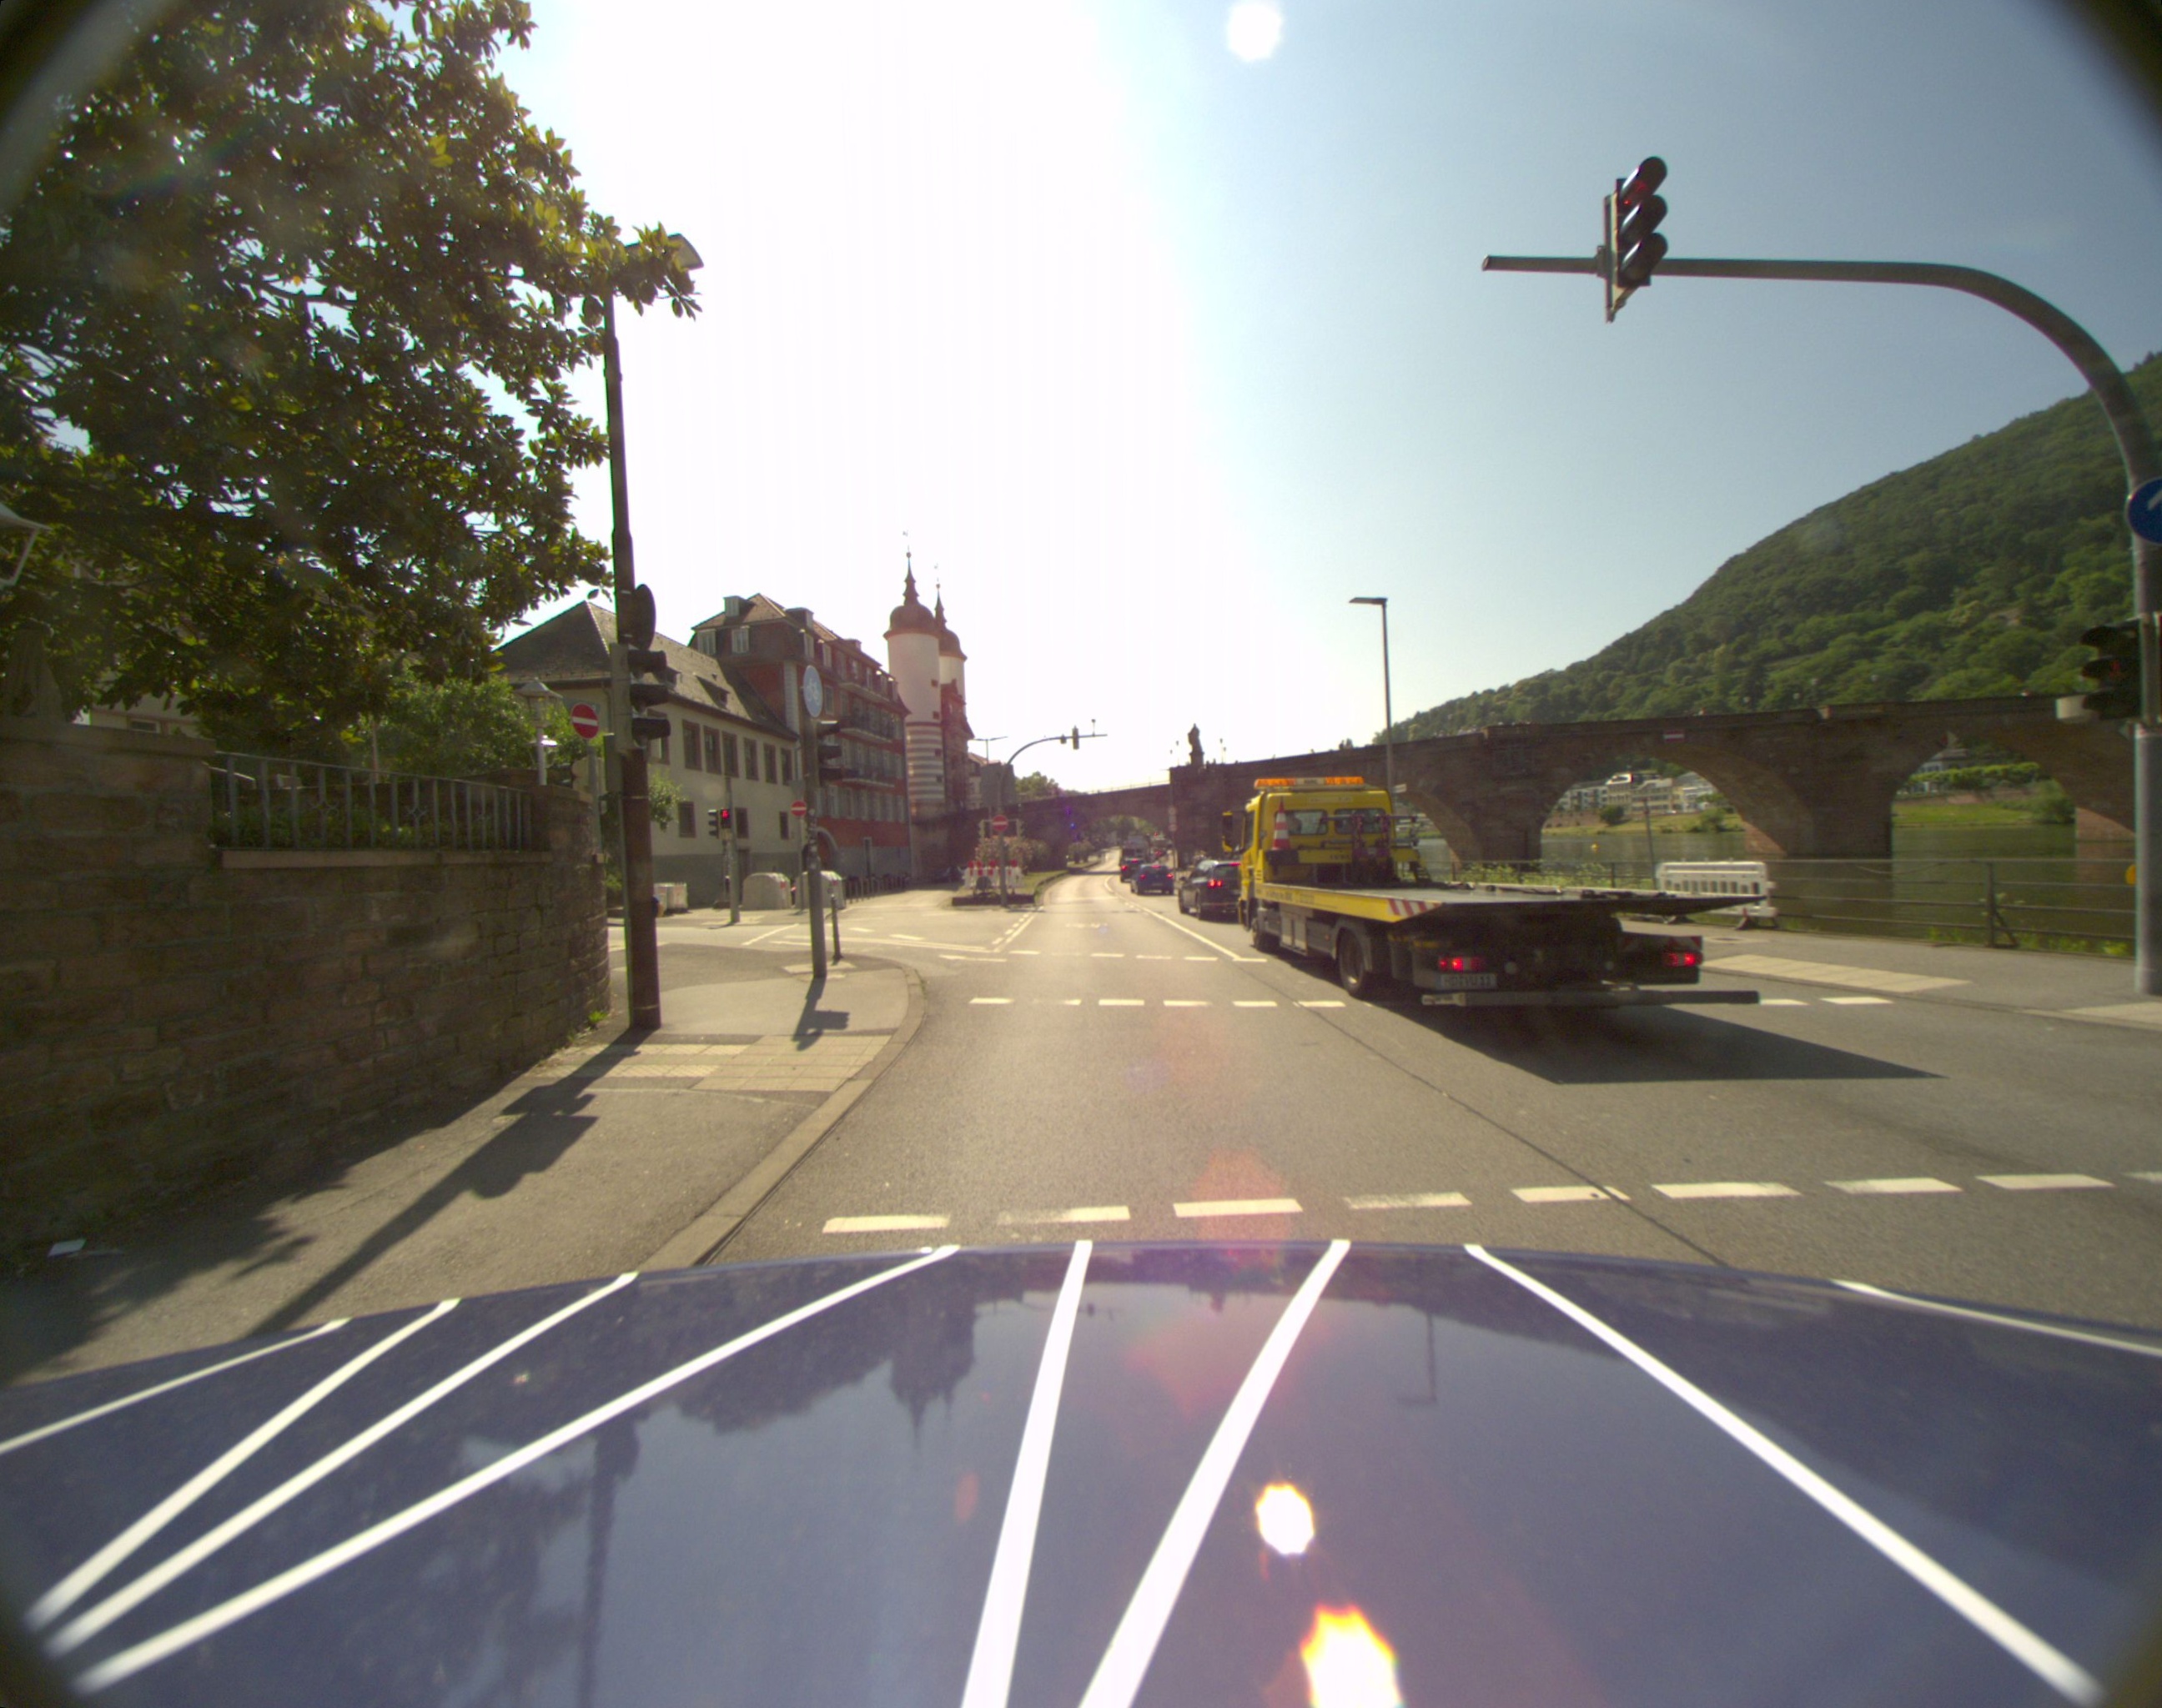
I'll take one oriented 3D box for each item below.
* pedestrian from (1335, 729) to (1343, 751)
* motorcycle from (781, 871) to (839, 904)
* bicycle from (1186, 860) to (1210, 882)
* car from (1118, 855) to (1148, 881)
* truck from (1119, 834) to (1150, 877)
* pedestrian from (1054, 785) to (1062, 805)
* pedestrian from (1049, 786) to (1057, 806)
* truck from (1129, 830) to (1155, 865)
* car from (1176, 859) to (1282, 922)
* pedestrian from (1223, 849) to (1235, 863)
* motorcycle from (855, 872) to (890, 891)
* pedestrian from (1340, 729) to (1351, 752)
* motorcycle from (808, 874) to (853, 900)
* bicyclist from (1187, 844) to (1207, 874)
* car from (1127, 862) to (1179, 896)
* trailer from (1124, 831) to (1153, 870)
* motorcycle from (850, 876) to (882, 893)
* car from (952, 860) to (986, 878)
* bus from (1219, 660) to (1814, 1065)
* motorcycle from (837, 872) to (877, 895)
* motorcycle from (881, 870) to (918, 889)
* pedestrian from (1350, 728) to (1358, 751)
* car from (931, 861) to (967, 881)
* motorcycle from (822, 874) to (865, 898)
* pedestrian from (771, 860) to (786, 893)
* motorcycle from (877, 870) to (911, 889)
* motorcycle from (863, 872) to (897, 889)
[{"bbox_3d":[23.898,-10.557,70.311,0.467,2.002,0.639,-2,2,0],"label":"pedestrian"},{"bbox_3d":[-13.758,1.681,38.620,2.501,1.524,1.051,-3,1,-34],"label":"motorcycle"},{"bbox_3d":[6.482,0.939,42.183,0.669,1.106,2.032,-5,2,-9],"label":"bicycle"},{"bbox_3d":[3.543,0.931,52.338,1.867,1.671,4.454,-2,0,2],"label":"car"},{"bbox_3d":[4.565,-0.001,64.692,2.381,3.244,7.610,-2,2,4],"label":"truck"},{"bbox_3d":[-2.294,-5.956,76.961,0.640,2.002,0.707,-2,2,7],"label":"pedestrian"},{"bbox_3d":[-2.878,-5.968,77.983,0.640,2.002,0.707,-2,2,7],"label":"pedestrian"},{"bbox_3d":[6.854,-0.704,84.697,2.528,3.727,6.249,-1,1,8],"label":"truck"},{"bbox_3d":[3.781,0.880,20.166,1.813,1.398,4.356,-2,0,-1],"label":"car"},{"bbox_3d":[13.104,0.153,67.388,0.790,1.222,1.026,-3,0,2],"label":"pedestrian"},{"bbox_3d":[-14.097,1.850,51.383,2.202,1.141,0.627,-3,1,-40],"label":"motorcycle"},{"bbox_3d":[24.477,-10.513,70.349,0.694,2.002,0.625,-2,2,0],"label":"pedestrian"},{"bbox_3d":[-13.819,1.814,41.921,2.240,1.245,0.627,-3,1,-31],"label":"motorcycle"},{"bbox_3d":[6.421,0.269,42.165,0.669,1.622,0.979,-5,1,-9],"label":"bicyclist"},{"bbox_3d":[3.372,1.167,36.401,1.734,1.482,4.325,-2,-1,-4],"label":"car"},{"bbox_3d":[6.023,-0.502,78.359,2.529,3.623,11.533,-1,1,6],"label":"trailer"},{"bbox_3d":[-14.076,1.982,49.746,1.935,0.981,0.546,-3,1,-40],"label":"motorcycle"},{"bbox_3d":[-10.577,1.417,72.317,1.896,1.484,4.418,-2,1,9],"label":"car"},{"bbox_3d":[3.953,0.101,9.759,2.604,2.879,8.446,-2,-1,-1],"label":"bus"},{"bbox_3d":[-13.843,1.833,46.902,2.186,1.260,0.781,-3,1,-31],"label":"motorcycle"},{"bbox_3d":[-13.470,1.897,56.407,2.547,1.226,0.840,-3,0,-36],"label":"motorcycle"},{"bbox_3d":[25.227,-10.605,70.246,0.467,2.002,0.639,-2,2,0],"label":"pedestrian"},{"bbox_3d":[-11.680,1.487,67.594,1.674,1.533,3.813,-3,1,13],"label":"car"},{"bbox_3d":[-13.653,1.833,43.674,2.201,1.260,0.627,-3,1,-31],"label":"motorcycle"},{"bbox_3d":[-17.152,1.281,43.045,0.496,1.813,0.619,-2,2,1],"label":"pedestrian"},{"bbox_3d":[-13.519,1.832,54.840,2.157,1.226,0.840,-3,0,-36],"label":"motorcycle"},{"bbox_3d":[-13.976,1.845,52.867,2.202,1.070,0.627,-3,1,-40],"label":"motorcycle"}]
